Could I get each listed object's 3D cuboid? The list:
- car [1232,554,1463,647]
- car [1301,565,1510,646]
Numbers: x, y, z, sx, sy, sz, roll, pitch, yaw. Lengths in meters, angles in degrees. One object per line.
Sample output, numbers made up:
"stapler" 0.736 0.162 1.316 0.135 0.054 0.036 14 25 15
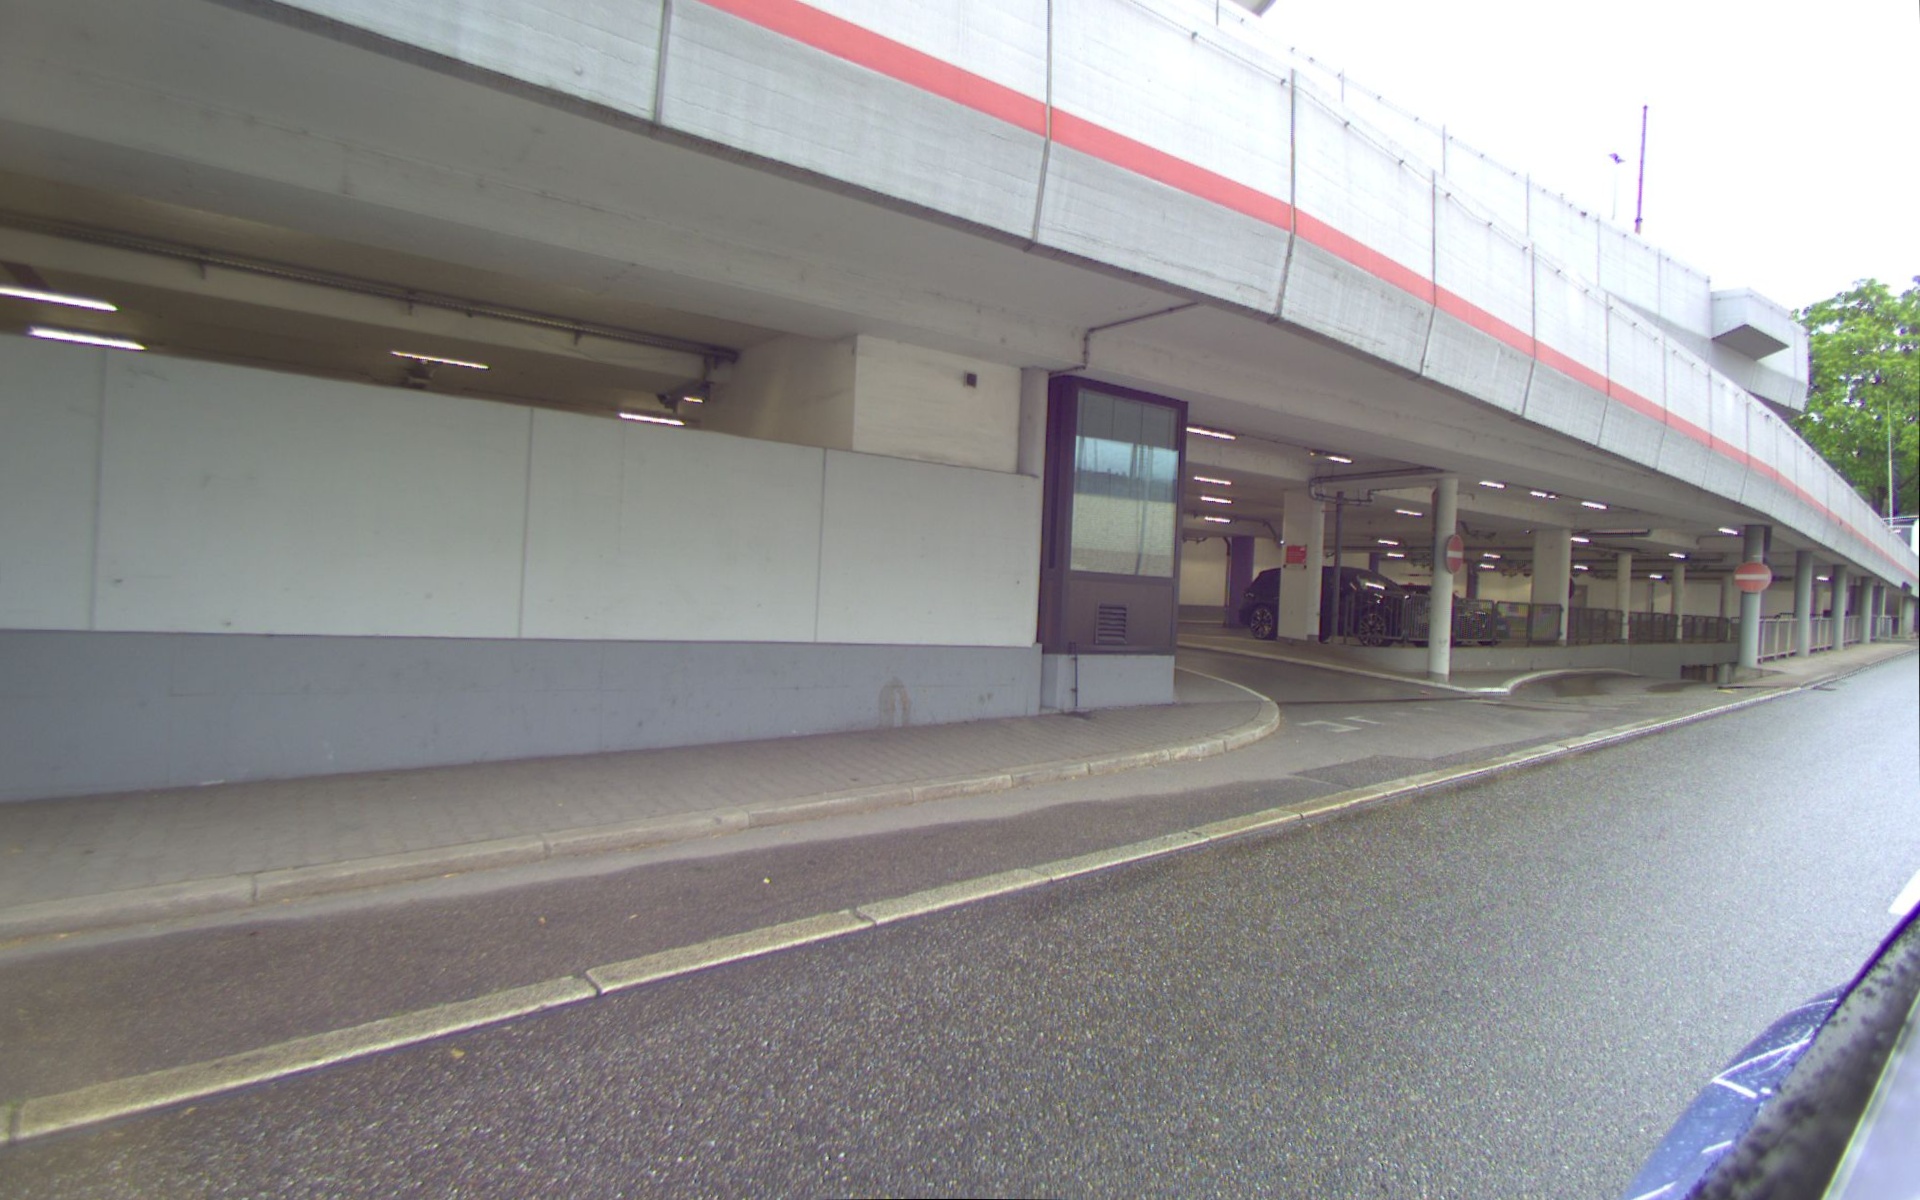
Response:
"car" 8.174 -0.010 21.718 1.960 1.682 4.261 5 -2 -31
"car" 10.773 0.098 24.759 1.960 1.682 4.261 5 -2 -31
